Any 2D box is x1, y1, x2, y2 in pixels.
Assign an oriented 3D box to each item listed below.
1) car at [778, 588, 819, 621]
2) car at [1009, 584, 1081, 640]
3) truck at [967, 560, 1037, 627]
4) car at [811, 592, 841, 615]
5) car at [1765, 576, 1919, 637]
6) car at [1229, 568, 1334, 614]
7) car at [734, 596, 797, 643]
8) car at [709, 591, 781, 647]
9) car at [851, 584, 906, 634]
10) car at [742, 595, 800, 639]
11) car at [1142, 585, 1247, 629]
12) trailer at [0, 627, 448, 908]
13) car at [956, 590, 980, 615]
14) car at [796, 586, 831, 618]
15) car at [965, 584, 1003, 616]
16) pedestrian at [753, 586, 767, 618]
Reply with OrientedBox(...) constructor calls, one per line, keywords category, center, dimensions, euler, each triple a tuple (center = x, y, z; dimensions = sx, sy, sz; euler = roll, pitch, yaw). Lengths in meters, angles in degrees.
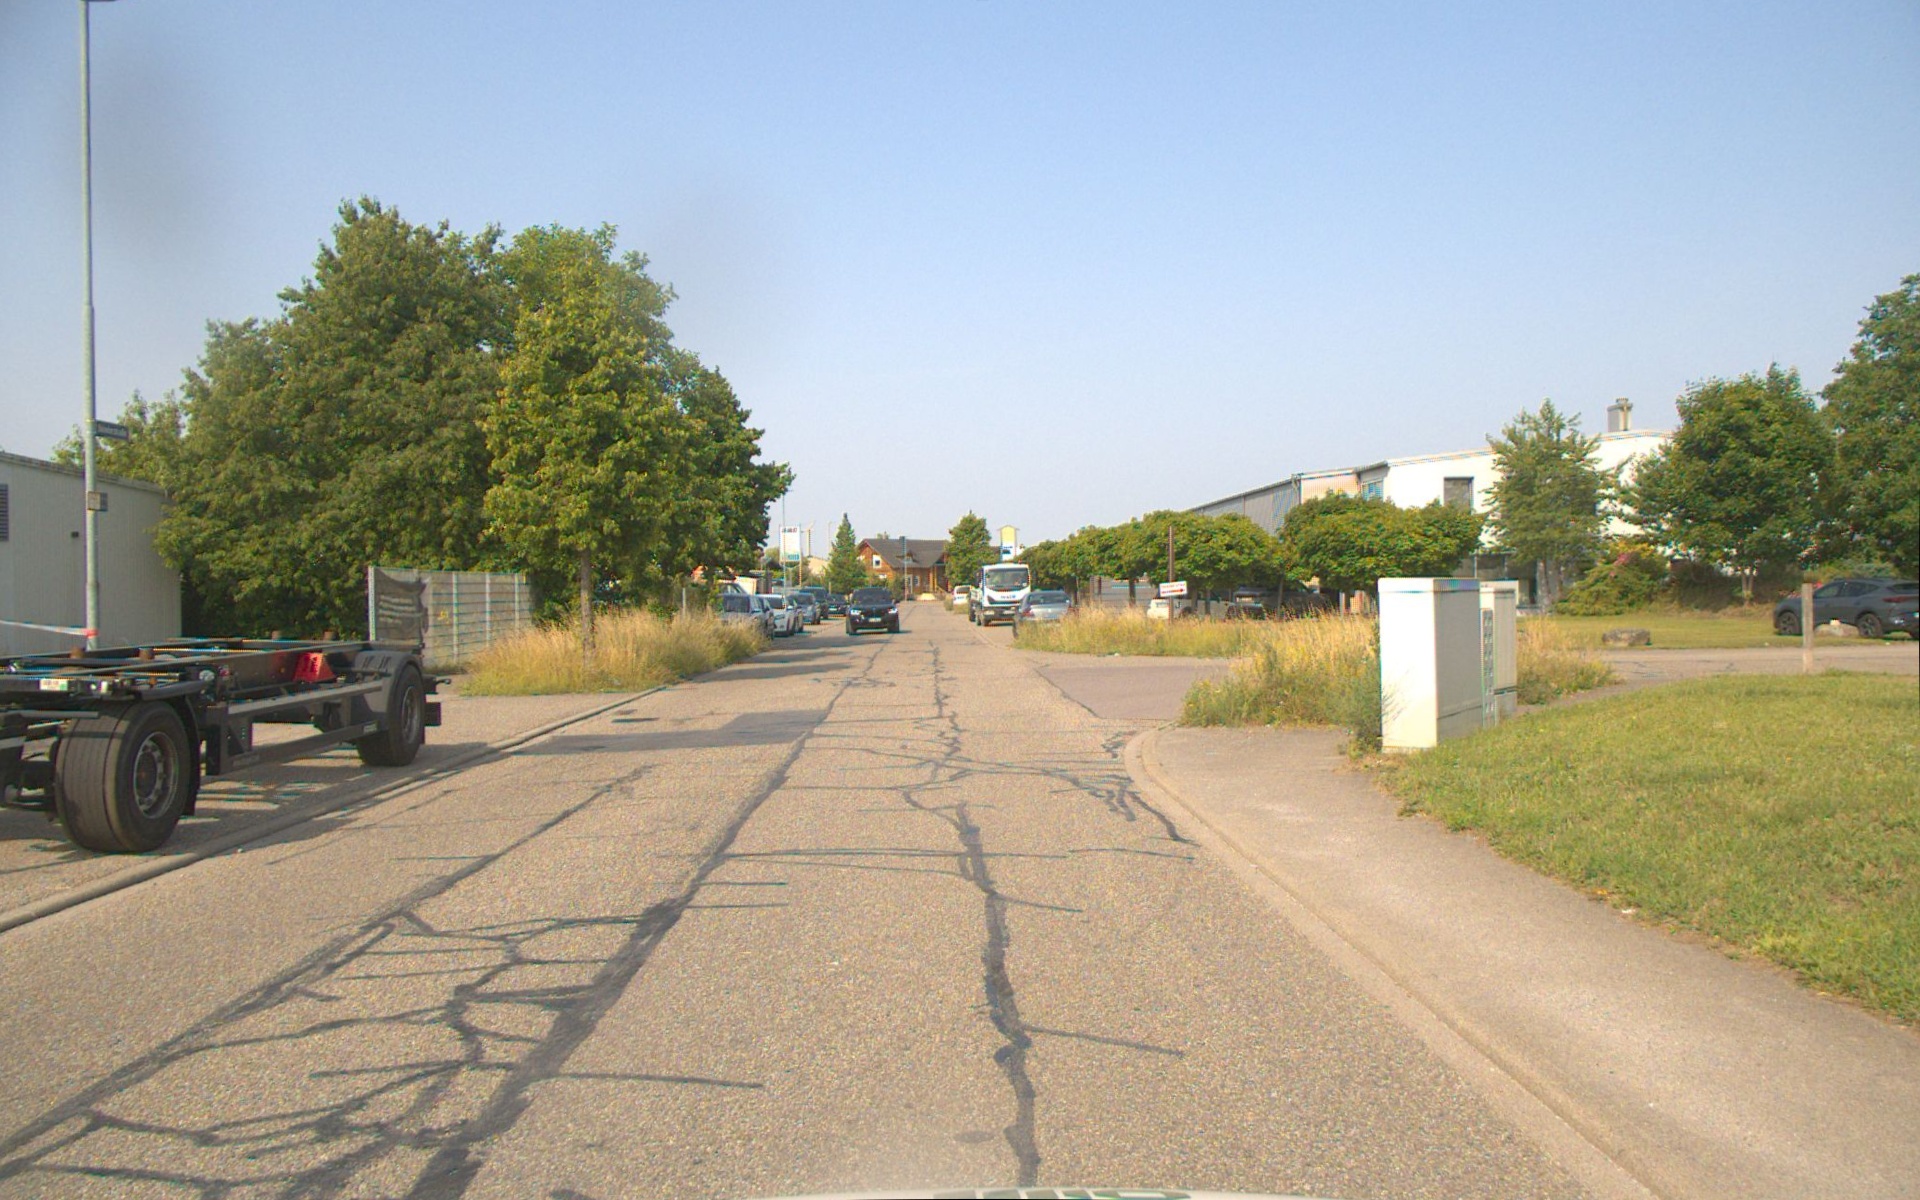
OrientedBox(category="car", center=(-7.916, 0.203, 81.344), dimensions=(1.599, 1.544, 3.606), euler=(1, 0, 1))
OrientedBox(category="car", center=(2.477, 0.339, 49.024), dimensions=(1.758, 1.544, 4.422), euler=(-1, 0, -2))
OrientedBox(category="truck", center=(1.778, -0.288, 72.721), dimensions=(2.313, 2.728, 6.504), euler=(-1, 0, -5))
OrientedBox(category="car", center=(-8.713, 0.211, 108.028), dimensions=(1.763, 1.411, 3.637), euler=(1, 0, -2))
OrientedBox(category="car", center=(22.622, 0.154, 41.608), dimensions=(1.754, 1.433, 4.324), euler=(-1, 0, -19))
OrientedBox(category="car", center=(11.935, -0.344, 61.228), dimensions=(1.659, 1.616, 4.503), euler=(-1, 0, 44))
OrientedBox(category="car", center=(-6.327, 0.601, 54.179), dimensions=(1.546, 1.469, 3.963), euler=(1, 0, 0))
OrientedBox(category="car", center=(-6.370, 0.531, 49.301), dimensions=(1.534, 1.565, 3.689), euler=(-1, 0, 1))
OrientedBox(category="car", center=(-3.009, 0.315, 61.925), dimensions=(1.818, 1.744, 4.226), euler=(-2, 0, -1))
OrientedBox(category="car", center=(-6.751, 0.593, 59.353), dimensions=(1.649, 1.495, 4.253), euler=(1, 0, -1))
OrientedBox(category="car", center=(8.216, 0.235, 57.895), dimensions=(3.665, 1.404, 1.662), euler=(-2, 0, -41))
OrientedBox(category="trailer", center=(-6.073, 0.894, 11.171), dimensions=(2.530, 1.205, 9.360), euler=(1, 0, -2))
OrientedBox(category="car", center=(0.636, 0.167, 134.965), dimensions=(1.800, 1.957, 3.755), euler=(-2, 0, -1))
OrientedBox(category="car", center=(-8.437, 0.115, 95.386), dimensions=(1.763, 1.805, 4.201), euler=(1, 0, -2))
OrientedBox(category="car", center=(1.211, -0.020, 84.979), dimensions=(1.758, 1.588, 3.999), euler=(-1, 0, -1))
OrientedBox(category="pedestrian", center=(-11.208, 0.118, 92.567), dimensions=(0.558, 1.745, 0.526), euler=(-1, 0, -39))
